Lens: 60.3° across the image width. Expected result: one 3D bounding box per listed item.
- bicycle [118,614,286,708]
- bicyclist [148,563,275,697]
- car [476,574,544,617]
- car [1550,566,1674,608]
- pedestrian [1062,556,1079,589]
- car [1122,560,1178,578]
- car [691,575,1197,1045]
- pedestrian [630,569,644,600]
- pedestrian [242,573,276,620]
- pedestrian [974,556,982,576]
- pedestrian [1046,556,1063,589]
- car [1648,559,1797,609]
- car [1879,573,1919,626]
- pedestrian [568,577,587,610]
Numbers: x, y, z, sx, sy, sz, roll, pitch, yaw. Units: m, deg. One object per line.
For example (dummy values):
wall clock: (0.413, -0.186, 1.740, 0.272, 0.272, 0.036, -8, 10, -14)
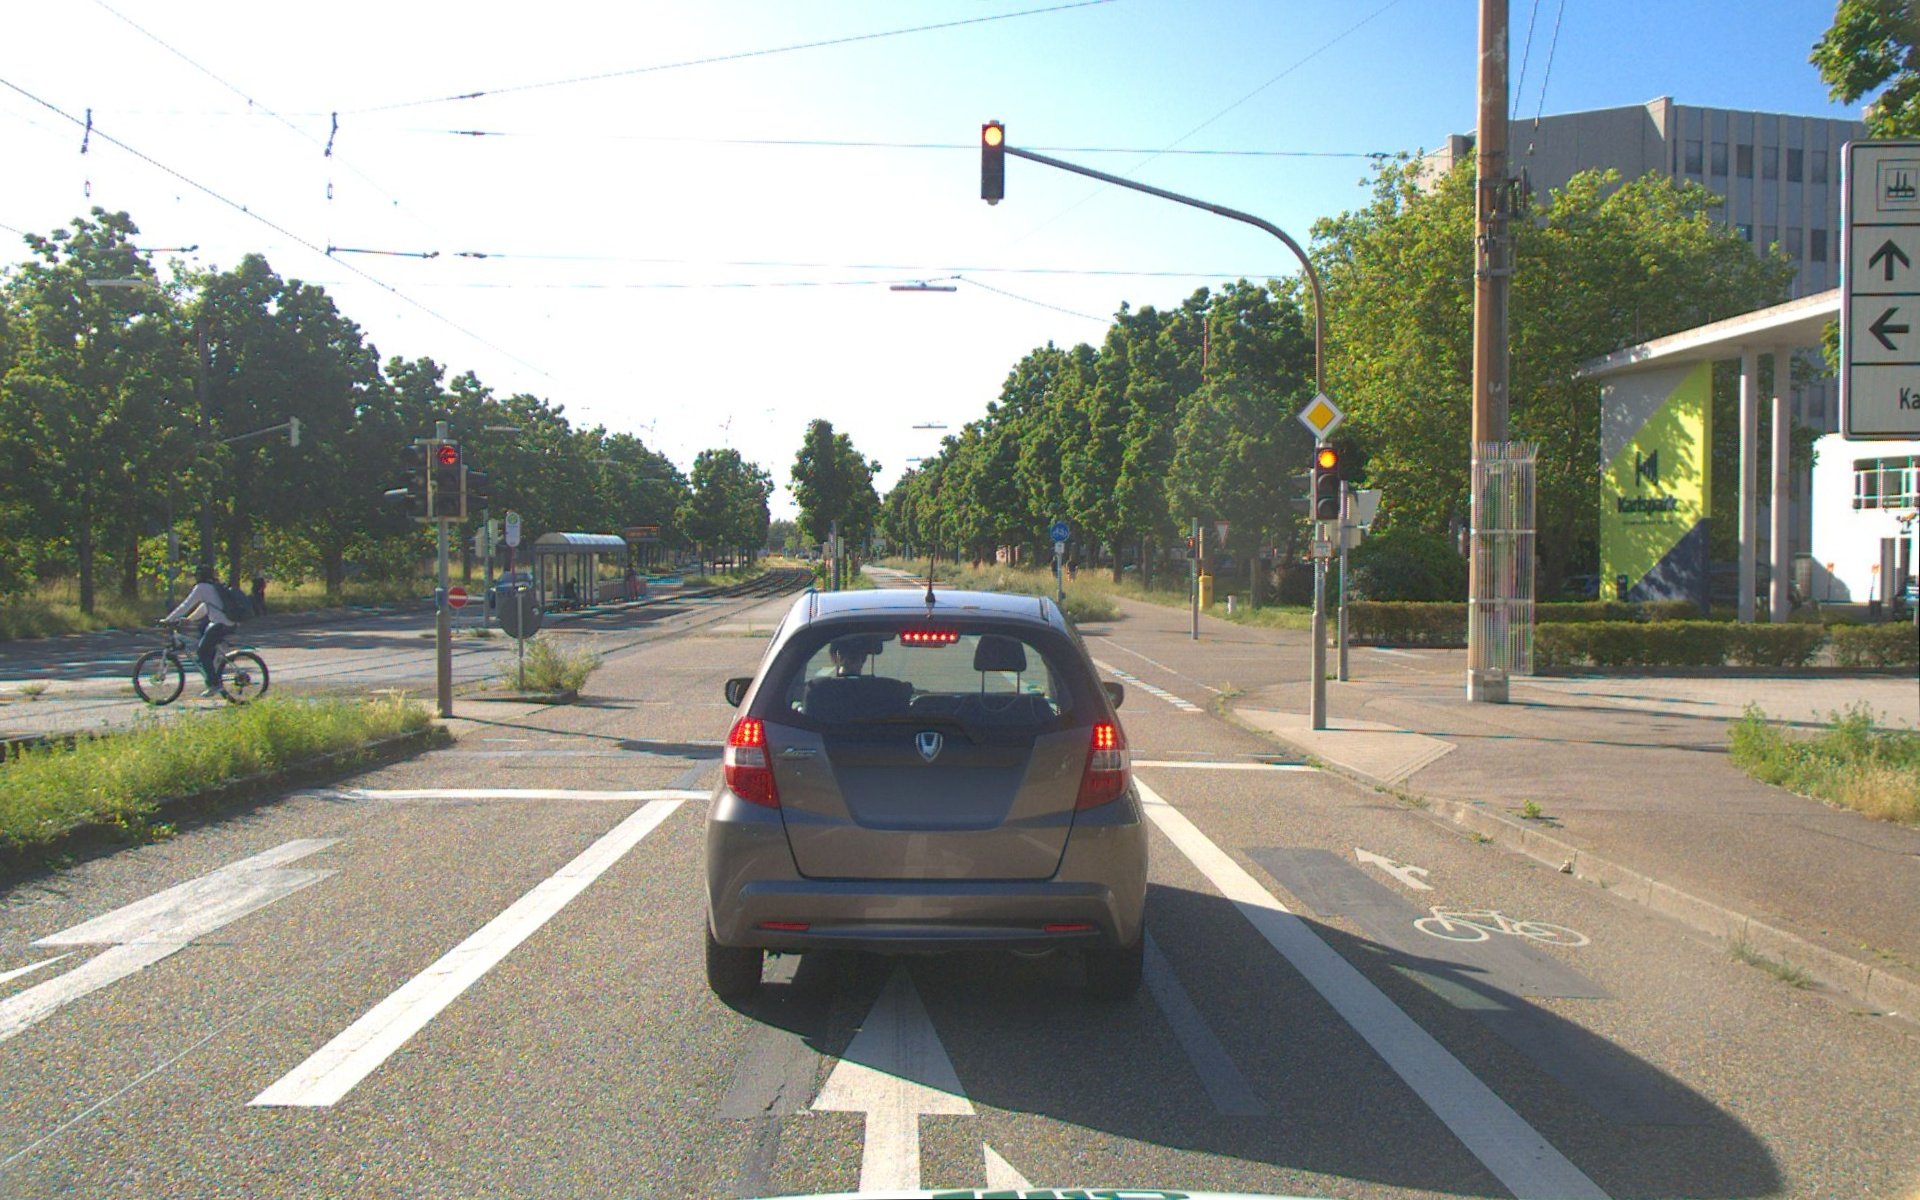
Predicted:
bicycle: (-9.376, 0.745, 20.504, 1.739, 1.121, 0.698, 0, 0, -2)
bicyclist: (-9.278, 0.357, 20.535, 1.208, 1.621, 0.805, 0, 0, -2)
car: (-21.202, -0.241, 78.117, 2.052, 1.841, 4.791, -2, 2, -3)
car: (26.633, -0.545, 67.603, 4.371, 1.715, 1.892, 0, 1, -7)
pedestrian: (6.417, -1.587, 96.162, 0.865, 1.917, 0.875, 0, 1, -5)
car: (16.589, -2.735, 144.817, 4.543, 1.582, 1.997, -1, 1, -7)
car: (-0.077, 0.695, 7.344, 1.666, 1.550, 3.709, 1, 0, -1)
pedestrian: (-15.588, -0.762, 79.850, 0.533, 1.473, 0.559, -1, 0, -1)
pedestrian: (-26.590, -0.146, 62.751, 0.744, 1.764, 0.936, 0, 1, 27)
pedestrian: (1.542, -2.915, 141.956, 0.710, 1.720, 0.820, 0, -1, -3)
pedestrian: (5.490, -1.603, 96.130, 0.865, 1.917, 0.875, 0, 1, -5)
car: (28.000, -0.612, 60.762, 4.803, 1.787, 2.083, 0, 1, -16)
car: (30.632, -0.020, 50.735, 3.914, 1.605, 1.950, 0, 1, -10)
pedestrian: (-15.097, -0.261, 65.297, 0.552, 1.279, 0.580, -2, 0, -2)
